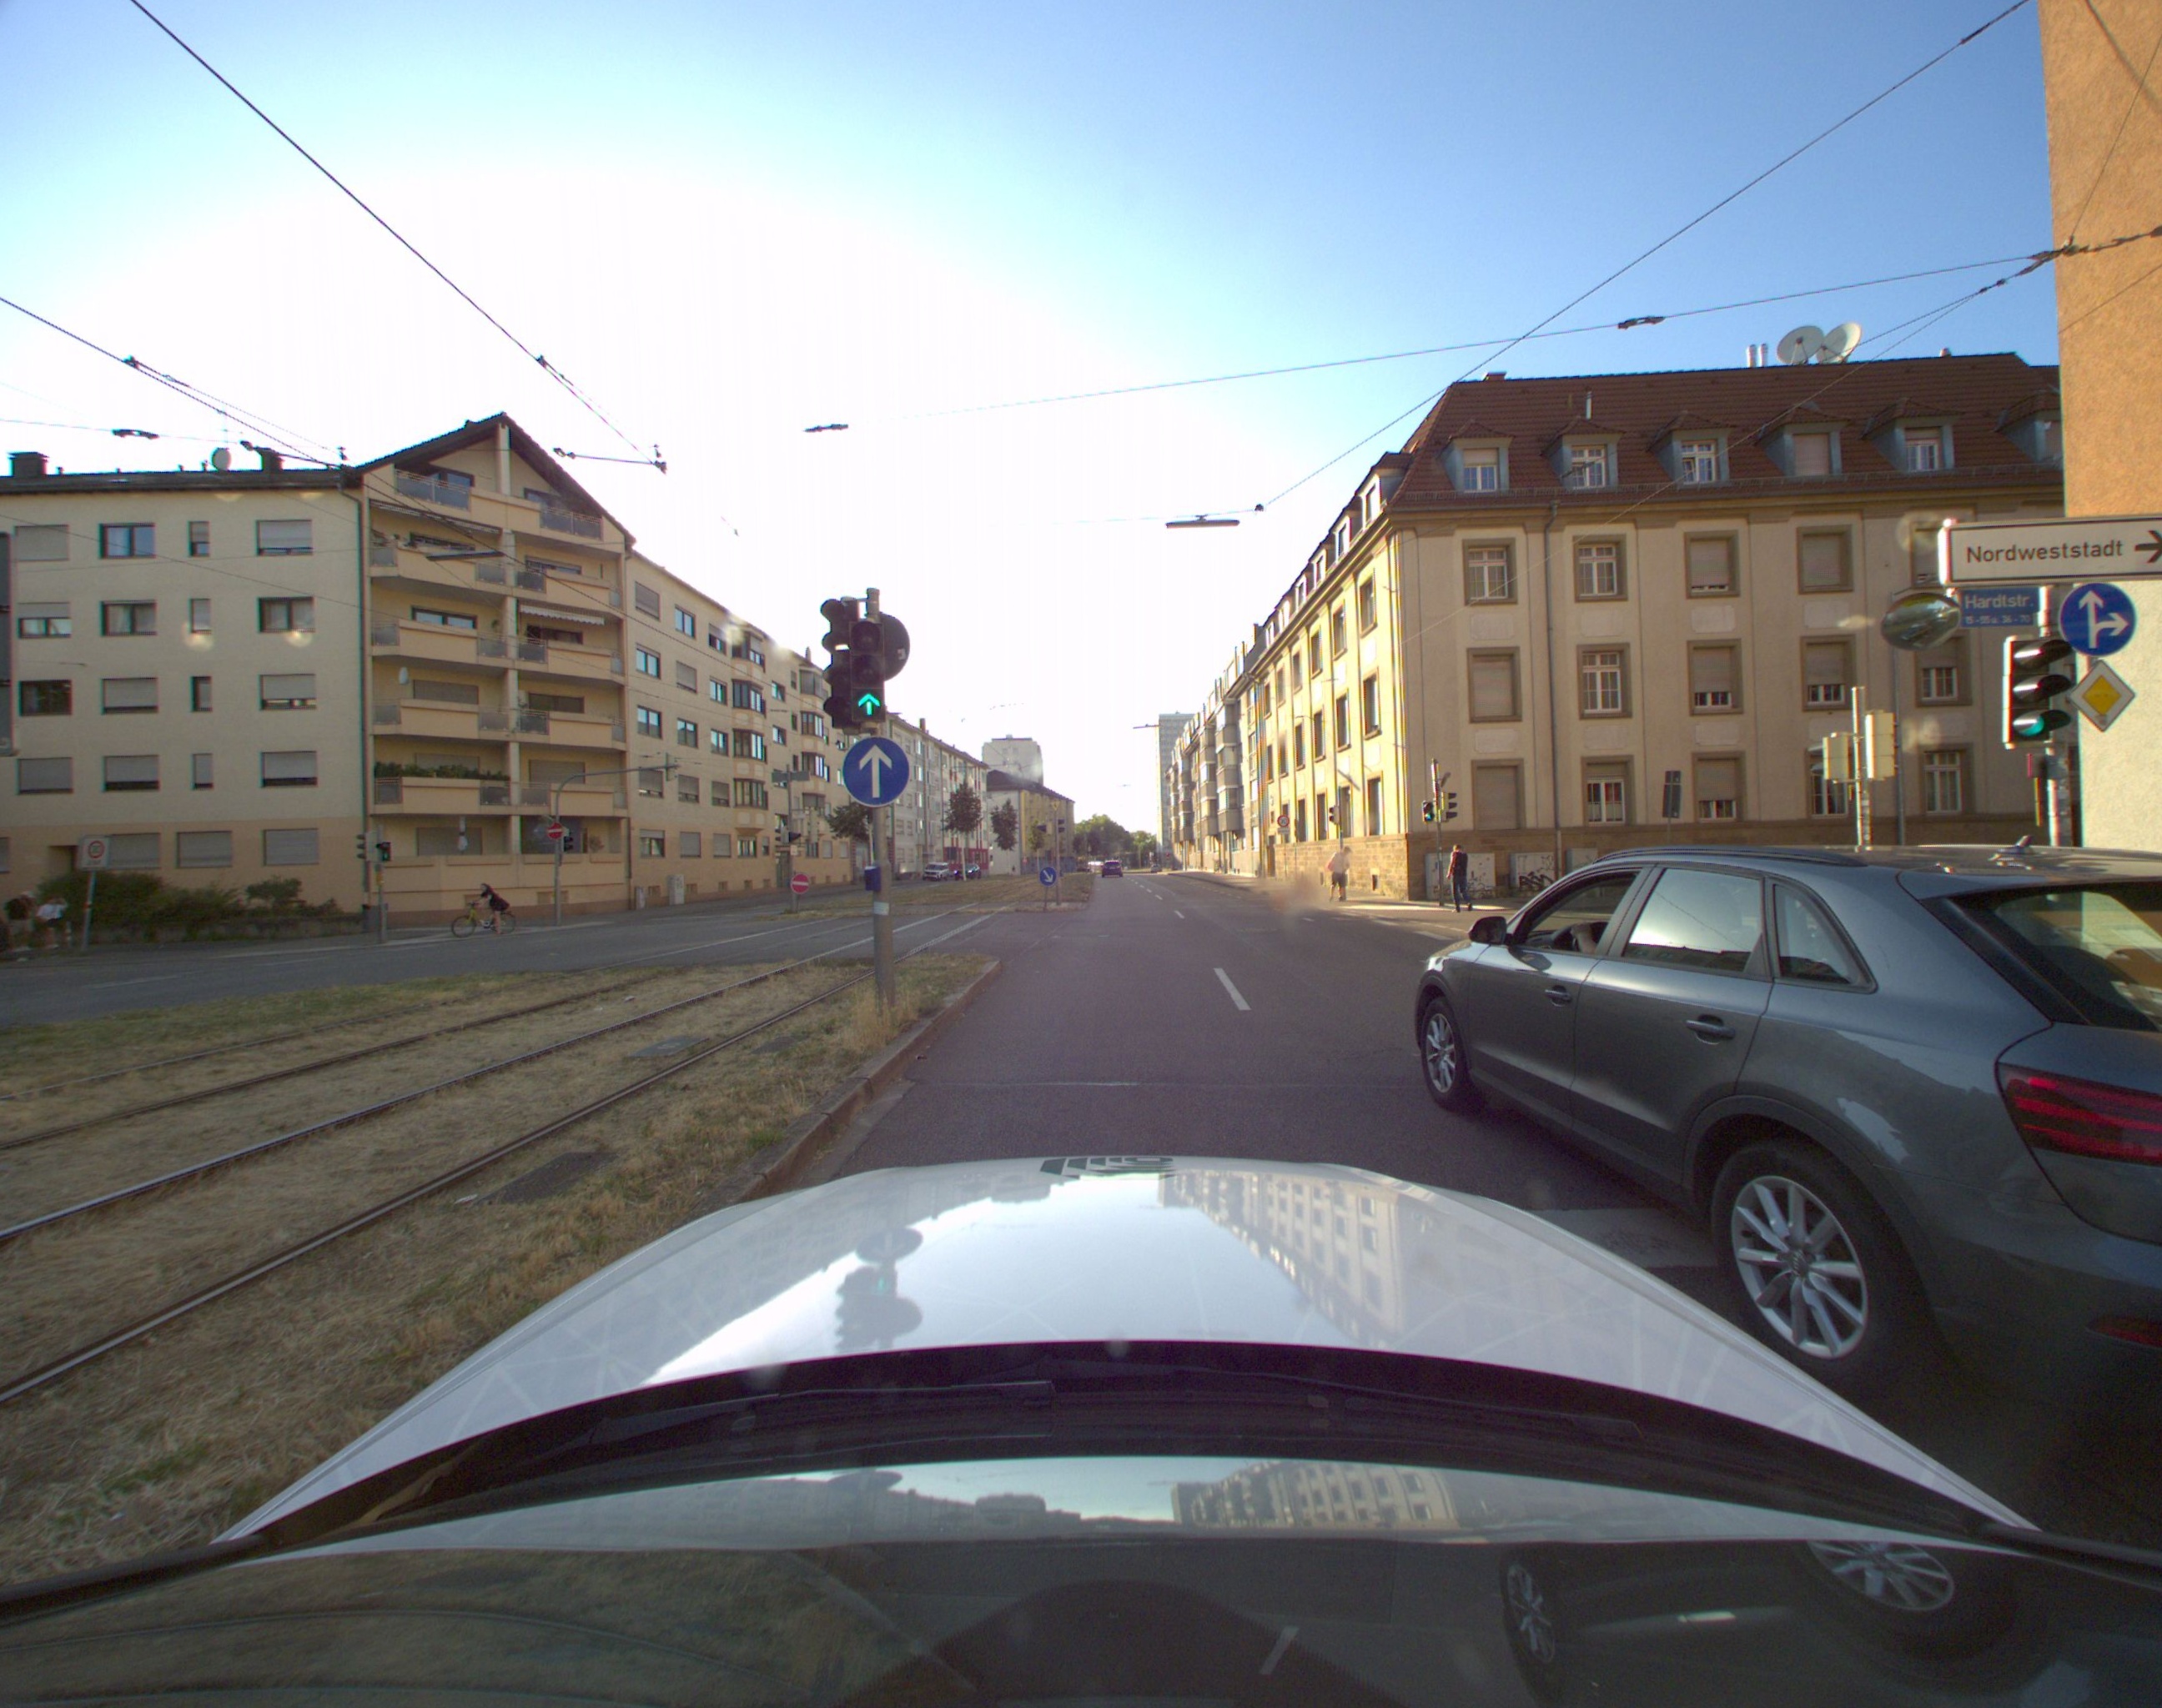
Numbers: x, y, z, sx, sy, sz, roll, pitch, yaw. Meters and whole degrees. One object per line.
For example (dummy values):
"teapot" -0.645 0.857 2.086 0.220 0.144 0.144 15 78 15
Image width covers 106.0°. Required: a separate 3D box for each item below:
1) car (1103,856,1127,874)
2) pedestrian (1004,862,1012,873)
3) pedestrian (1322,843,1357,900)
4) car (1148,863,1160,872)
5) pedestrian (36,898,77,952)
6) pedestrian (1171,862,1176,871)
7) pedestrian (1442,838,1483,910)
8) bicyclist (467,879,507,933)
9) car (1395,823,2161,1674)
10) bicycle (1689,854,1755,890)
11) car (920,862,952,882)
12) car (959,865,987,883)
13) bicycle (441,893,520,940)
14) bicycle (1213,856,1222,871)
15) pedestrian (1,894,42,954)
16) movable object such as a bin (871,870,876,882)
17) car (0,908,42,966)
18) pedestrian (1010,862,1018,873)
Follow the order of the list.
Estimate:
"car" 2.927 0.945 69.905 1.918 1.456 4.330 -1 -1 3
"pedestrian" -11.571 2.181 129.190 0.957 1.694 1.013 -1 -1 7
"pedestrian" 8.154 0.547 25.678 0.832 1.762 0.824 -1 -1 1
"car" 12.813 2.369 142.808 1.985 1.564 4.003 -1 -1 3
"pedestrian" -30.539 2.099 24.284 0.546 1.552 0.517 -1 0 7
"pedestrian" 13.156 1.755 116.037 0.688 1.234 0.737 -1 -1 2
"pedestrian" 9.534 0.505 20.398 0.627 1.758 0.825 -1 -1 1
"bicyclist" -18.137 1.563 24.877 0.620 1.586 0.814 -1 0 35
"car" 2.895 0.720 3.397 1.691 1.552 4.228 -1 0 3
"bicycle" 18.406 0.526 23.397 1.491 1.018 0.251 -1 -1 17
"car" -14.482 1.806 81.554 1.984 1.925 4.548 -1 -1 5
"car" -10.808 1.955 81.582 1.890 1.633 4.750 -2 -1 2
"bicycle" -18.210 1.882 24.735 0.450 1.257 1.882 -1 0 34
"bicycle" 10.275 0.745 61.498 0.382 1.096 1.503 -3 -1 0
"pedestrian" -30.725 2.028 23.620 0.587 1.705 0.464 -1 -1 7
"movable object such as a bin" -17.452 1.842 68.496 0.297 1.036 0.441 -1 -1 1
"car" -30.162 2.248 20.915 3.983 1.442 1.995 -2 1 -7
"pedestrian" -10.686 2.181 129.700 0.957 1.670 1.013 -1 -1 7
